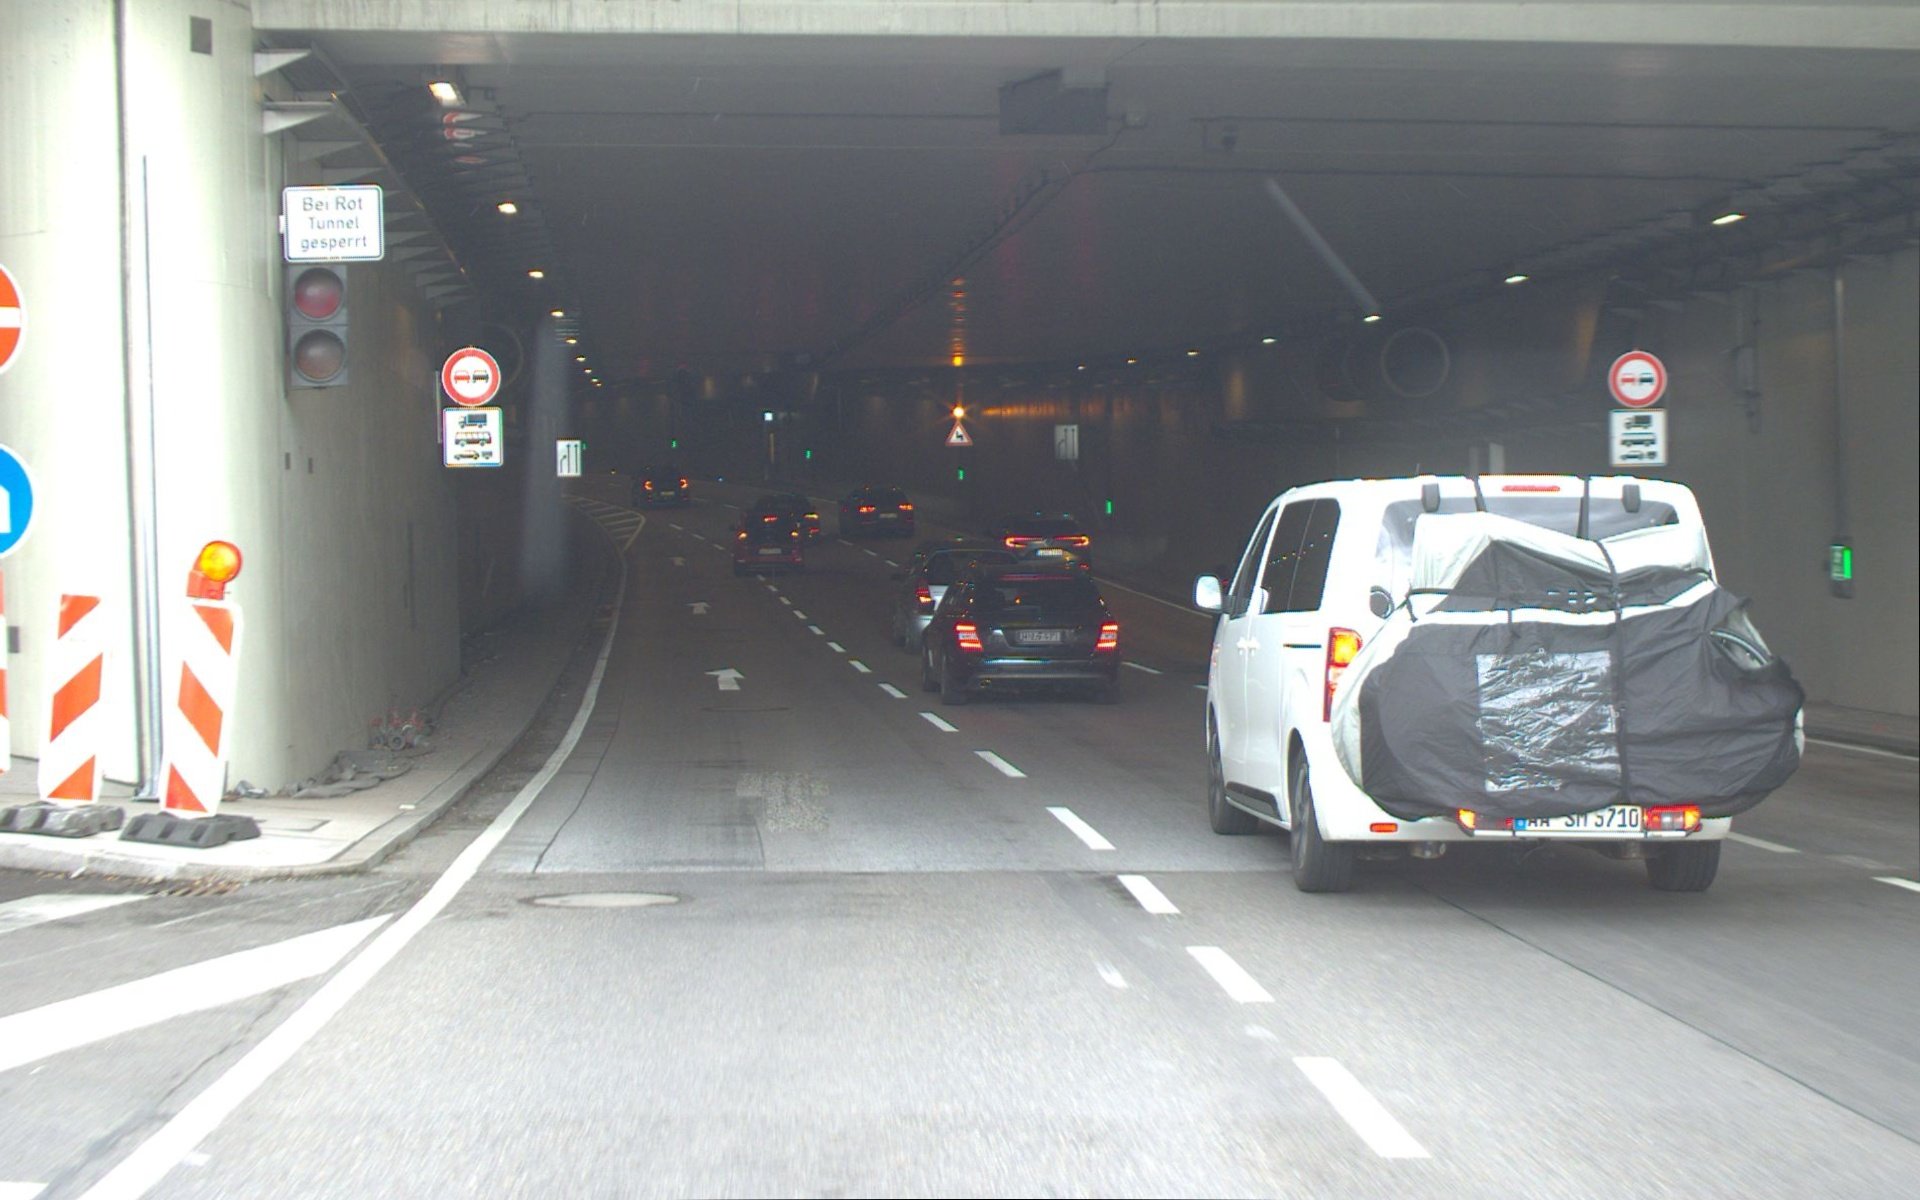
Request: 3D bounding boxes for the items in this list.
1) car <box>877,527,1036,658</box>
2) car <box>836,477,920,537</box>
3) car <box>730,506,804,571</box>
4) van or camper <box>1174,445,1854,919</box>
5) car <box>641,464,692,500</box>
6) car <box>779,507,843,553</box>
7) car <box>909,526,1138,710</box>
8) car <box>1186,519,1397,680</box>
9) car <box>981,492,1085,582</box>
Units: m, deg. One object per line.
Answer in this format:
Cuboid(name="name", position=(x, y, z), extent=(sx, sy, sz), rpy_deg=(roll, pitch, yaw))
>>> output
Cuboid(name="car", position=(-0.094, -0.146, 47.869), extent=(1.818, 1.575, 4.001), rpy_deg=(3, 2, -5))
Cuboid(name="car", position=(-2.391, -2.657, 99.055), extent=(1.989, 1.670, 4.509), rpy_deg=(0, 1, -7))
Cuboid(name="car", position=(-4.555, -1.434, 80.746), extent=(1.660, 1.483, 3.568), rpy_deg=(0, 1, -4))
Cuboid(name="van or camper", position=(2.358, 0.292, 16.292), extent=(1.993, 1.839, 5.509), rpy_deg=(1, 1, -3))
Cuboid(name="car", position=(-10.370, -4.156, 121.247), extent=(1.508, 1.242, 3.568), rpy_deg=(-1, 1, -9))
Cuboid(name="car", position=(-4.167, -1.943, 95.653), extent=(1.663, 1.242, 3.568), rpy_deg=(0, 1, -4))
Cuboid(name="car", position=(0.578, 0.130, 34.793), extent=(1.818, 1.678, 4.001), rpy_deg=(1, 2, -6))
Cuboid(name="car", position=(4.041, -0.050, 42.512), extent=(1.818, 1.743, 4.001), rpy_deg=(3, 2, -5))
Cuboid(name="car", position=(1.432, -1.284, 68.810), extent=(1.660, 1.628, 3.568), rpy_deg=(3, 2, -4))
